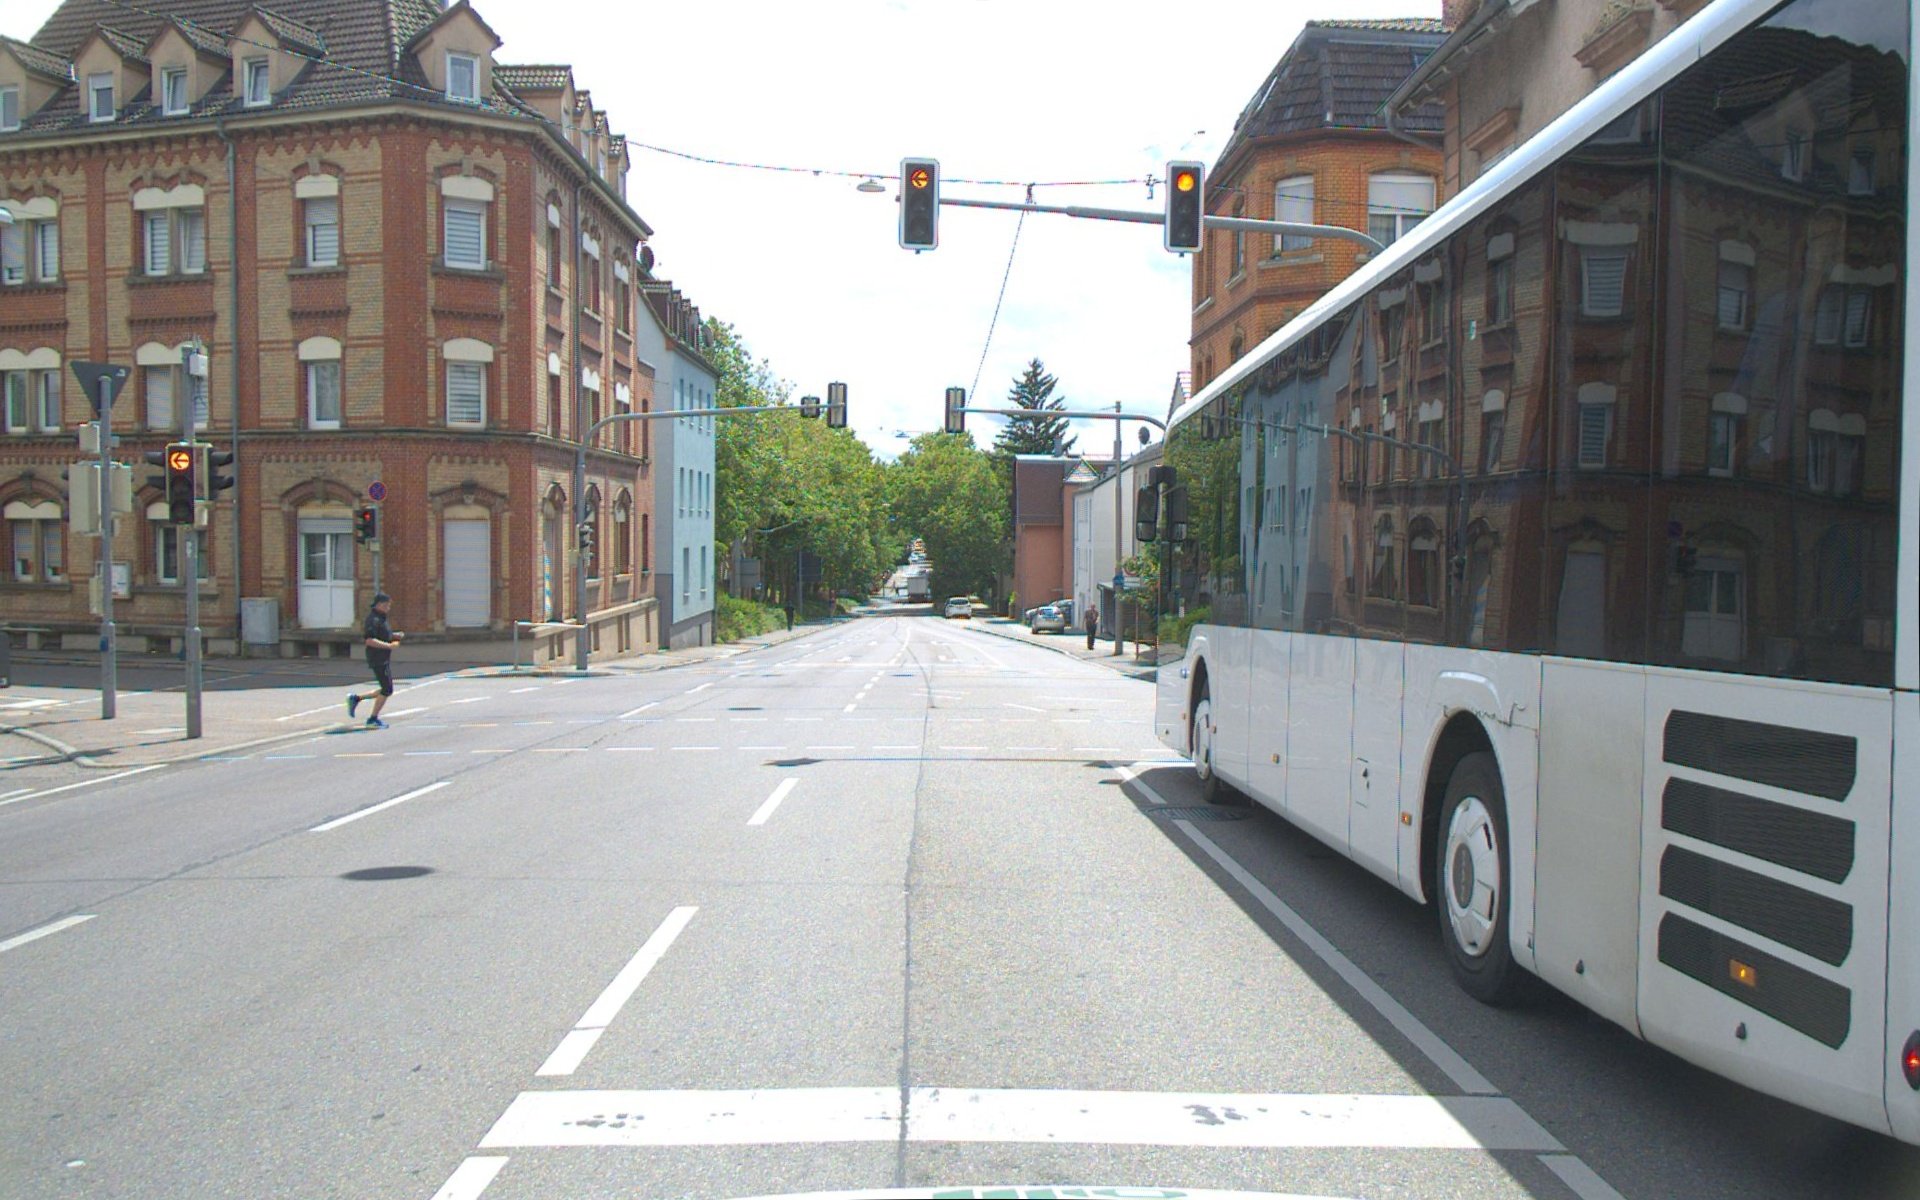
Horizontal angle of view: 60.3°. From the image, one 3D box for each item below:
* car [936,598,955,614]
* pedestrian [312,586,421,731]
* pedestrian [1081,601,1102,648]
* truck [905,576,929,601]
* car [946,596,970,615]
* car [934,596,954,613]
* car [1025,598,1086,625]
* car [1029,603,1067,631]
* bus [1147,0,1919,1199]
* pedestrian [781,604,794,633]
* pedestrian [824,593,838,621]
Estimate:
[{"bbox_3d":[-1.324,0.517,153.891,1.757,1.434,4.418,1,0,0],"label":"car"},{"bbox_3d":[-7.394,0.715,20.635,1.118,1.765,0.758,0,0,-5],"label":"pedestrian"},{"bbox_3d":[5.056,0.944,63.403,0.723,1.781,0.619,-1,0,-1],"label":"pedestrian"},{"bbox_3d":[-5.555,-1.529,213.015,2.868,3.135,7.881,-1,0,-3],"label":"truck"},{"bbox_3d":[-0.162,0.458,129.429,1.758,1.434,3.999,1,0,-1],"label":"car"},{"bbox_3d":[-1.394,0.406,145.785,1.757,1.434,4.418,1,0,0],"label":"car"},{"bbox_3d":[6.495,0.781,113.243,3.909,1.788,1.998,-1,0,-6],"label":"car"},{"bbox_3d":[4.920,0.947,93.118,1.758,1.434,3.999,-1,1,-2],"label":"car"},{"bbox_3d":[3.141,-0.156,9.234,2.618,3.211,12.459,0,0,-1],"label":"bus"},{"bbox_3d":[-9.647,1.027,92.597,0.714,1.592,0.560,0,0,-2],"label":"pedestrian"},{"bbox_3d":[-9.631,0.515,123.645,0.974,2.049,1.188,0,0,-1],"label":"pedestrian"}]
